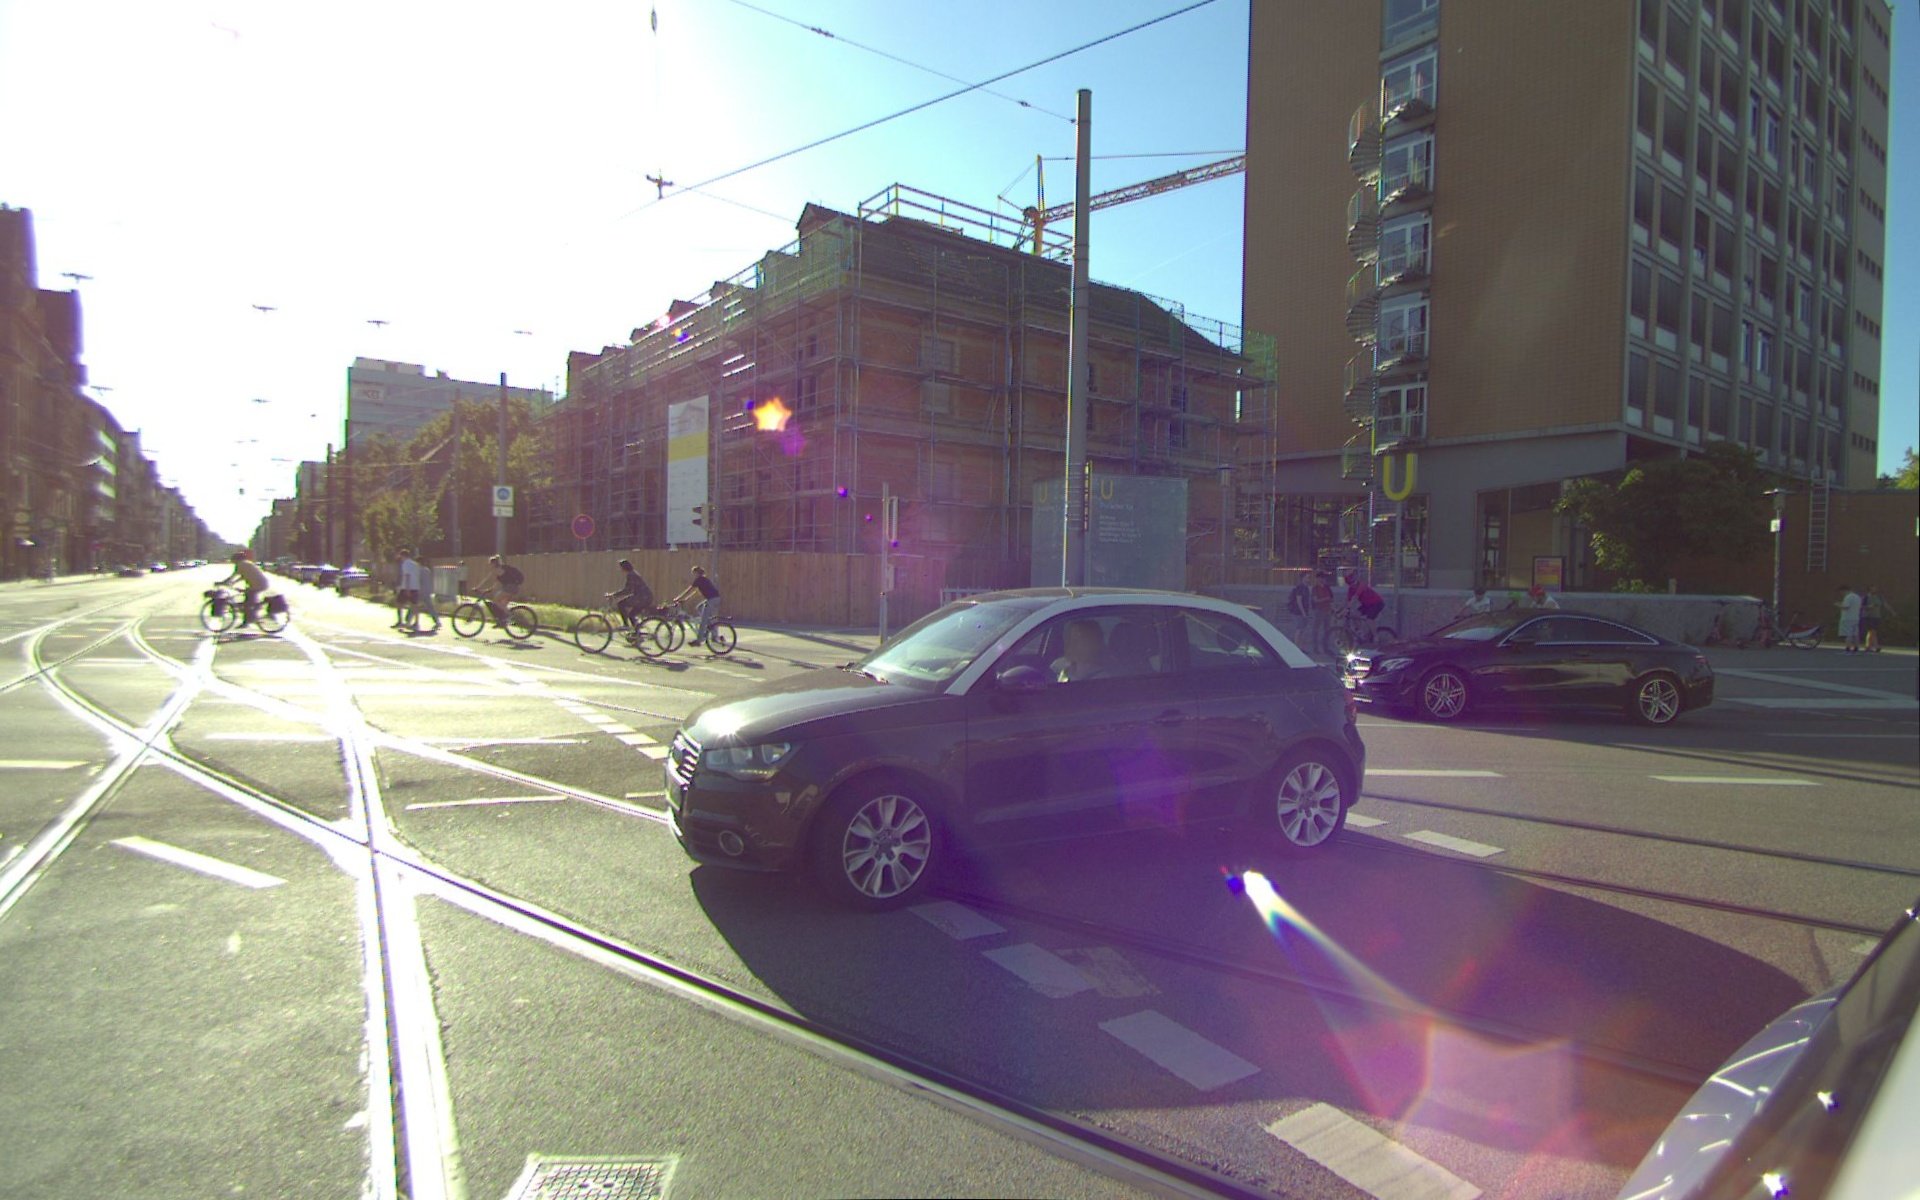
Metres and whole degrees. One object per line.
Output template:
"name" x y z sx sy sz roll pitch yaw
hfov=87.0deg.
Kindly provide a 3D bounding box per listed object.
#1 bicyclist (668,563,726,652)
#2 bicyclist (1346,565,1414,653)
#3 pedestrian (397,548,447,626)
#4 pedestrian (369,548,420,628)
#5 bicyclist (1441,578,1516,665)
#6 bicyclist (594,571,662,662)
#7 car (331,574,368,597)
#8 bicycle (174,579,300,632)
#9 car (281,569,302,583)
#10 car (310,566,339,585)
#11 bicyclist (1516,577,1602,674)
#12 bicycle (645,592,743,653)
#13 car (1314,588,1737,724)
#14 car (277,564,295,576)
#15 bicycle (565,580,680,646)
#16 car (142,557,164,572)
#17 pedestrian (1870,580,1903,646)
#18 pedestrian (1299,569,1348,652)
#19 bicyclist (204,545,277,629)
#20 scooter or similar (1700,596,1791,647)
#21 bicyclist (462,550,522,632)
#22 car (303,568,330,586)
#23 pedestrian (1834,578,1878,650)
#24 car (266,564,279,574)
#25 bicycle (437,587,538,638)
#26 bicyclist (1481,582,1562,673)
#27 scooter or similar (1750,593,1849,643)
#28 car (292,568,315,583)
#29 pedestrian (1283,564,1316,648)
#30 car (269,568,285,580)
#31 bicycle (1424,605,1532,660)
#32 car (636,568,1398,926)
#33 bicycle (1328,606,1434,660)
"bicyclist" -5.118 0.149 19.739 0.955 1.683 0.649 1 -2 -5
"bicyclist" 8.675 0.170 20.950 0.997 1.728 0.695 2 4 -1
"pedestrian" -13.264 -0.307 24.958 0.810 1.873 0.686 0 -2 22
"pedestrian" -13.578 -0.282 24.311 0.810 1.873 0.686 0 -2 22
"bicyclist" 10.054 0.409 19.639 0.995 1.606 0.696 1 4 -17
"bicyclist" -5.996 0.300 18.303 0.958 1.589 0.647 1 -2 7
"car" -39.658 -0.923 65.720 1.724 1.482 4.017 0 0 -36
"bicycle" -15.205 0.121 21.326 2.065 1.040 0.768 1 0 -2
"car" -72.563 -2.585 109.866 1.724 1.482 4.017 0 0 -36
"car" -50.916 -1.950 81.066 1.724 1.482 4.017 0 0 -36
"bicyclist" 10.369 0.436 17.537 0.995 1.606 0.696 1 4 -16
"bicycle" -5.163 0.447 19.725 1.740 1.138 0.649 1 -2 -5
"car" 7.270 0.694 13.284 4.561 1.511 1.819 2 0 -4
"car" -85.337 -3.762 128.029 1.724 1.482 4.017 0 0 -36
"bicycle" -6.095 0.237 18.317 1.870 1.138 0.647 1 -2 7
"car" -117.292 -5.132 147.139 3.987 2.040 1.968 0 -2 44
"pedestrian" 23.806 0.333 26.004 0.494 1.656 0.428 1 -2 -16
"pedestrian" 7.894 0.225 21.989 0.717 1.760 0.623 1 2 -13
"bicyclist" -15.147 -0.276 21.316 0.956 1.717 0.768 1 0 -1
"scooter or similar" 20.113 0.556 25.964 1.690 1.263 0.793 0 -2 25
"bicyclist" -10.052 -0.187 21.767 0.956 1.717 0.648 1 0 1
"car" -54.523 -1.920 85.717 1.724 1.482 4.017 0 0 -36
"pedestrian" 21.958 0.343 24.801 0.615 1.733 0.484 1 -2 11
"car" -114.027 -5.169 167.835 1.724 1.482 4.017 0 0 -36
"bicycle" -10.143 0.267 21.754 1.871 1.040 0.648 1 0 1
"bicyclist" 10.337 0.496 18.649 0.995 1.606 0.696 1 4 -17
"scooter or similar" 21.684 0.461 26.195 1.810 1.263 0.793 0 -2 25
"car" -65.815 -2.431 101.478 1.724 1.482 4.017 0 0 -36
"pedestrian" 7.291 0.118 21.757 0.614 1.760 0.662 2 2 18
"car" -97.711 -3.658 144.755 1.724 1.626 4.017 0 0 -36
"bicycle" 10.057 0.621 19.654 1.840 0.981 0.714 1 4 -17
"car" 0.295 0.569 5.500 3.752 1.405 1.699 1 1 -23
"bicycle" 8.715 0.672 20.992 1.844 0.981 0.713 2 4 -1
